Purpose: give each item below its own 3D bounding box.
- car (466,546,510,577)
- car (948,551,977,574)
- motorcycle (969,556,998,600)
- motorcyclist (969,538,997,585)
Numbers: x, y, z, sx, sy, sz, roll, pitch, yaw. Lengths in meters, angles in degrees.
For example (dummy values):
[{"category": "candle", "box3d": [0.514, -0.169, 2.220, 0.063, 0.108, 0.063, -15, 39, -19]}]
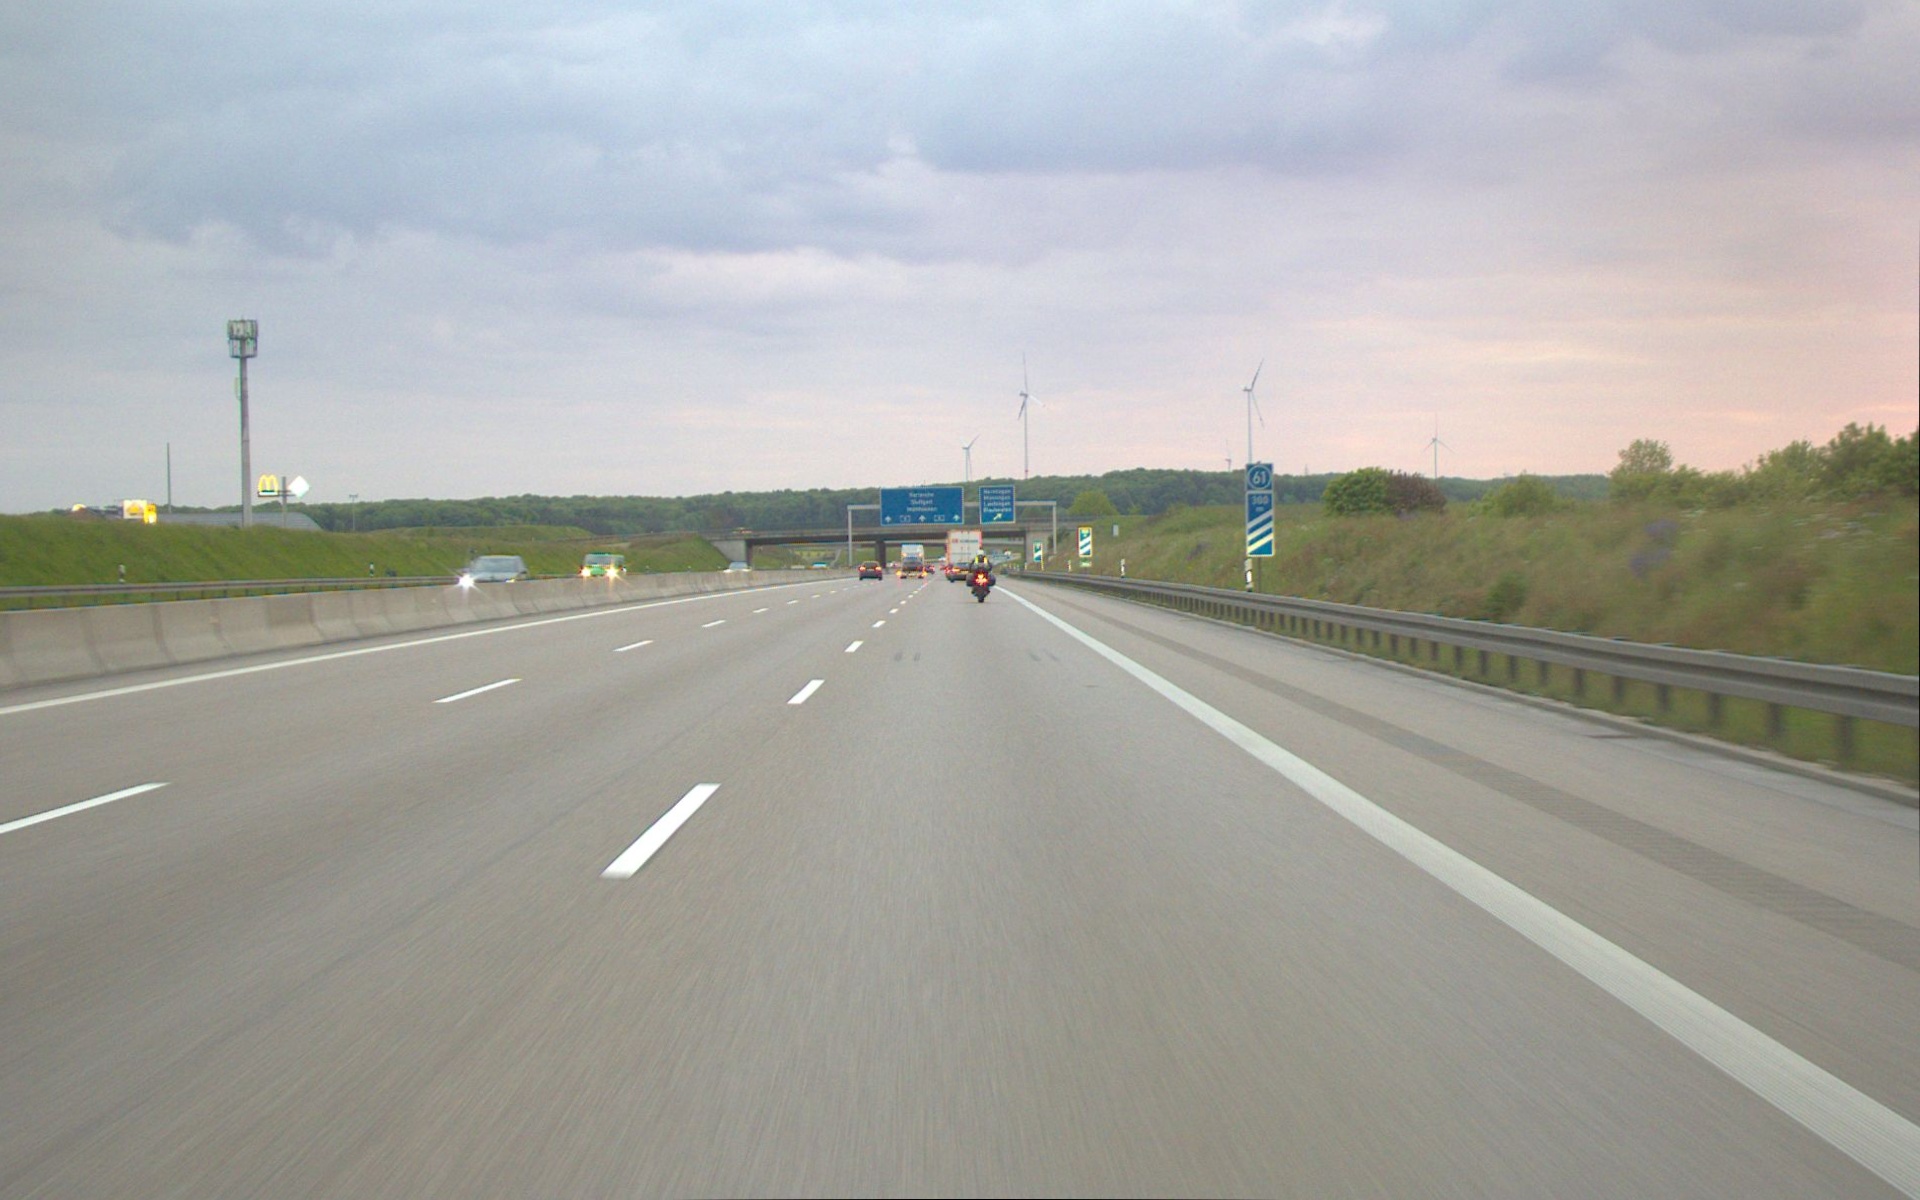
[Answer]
[{"category": "car", "box3d": [-23.338, -1.921, 170.167, 1.630, 1.512, 4.427, 0, 1, -1]}, {"category": "car", "box3d": [0.145, -2.559, 233.437, 1.918, 1.574, 4.000, -1, 1, -1]}, {"category": "motorcycle", "box3d": [0.744, -0.694, 109.313, 0.902, 1.342, 2.349, 0, 2, 0]}, {"category": "motorcyclist", "box3d": [0.743, -1.219, 109.420, 0.866, 1.482, 1.168, 1, 1, 1]}]
